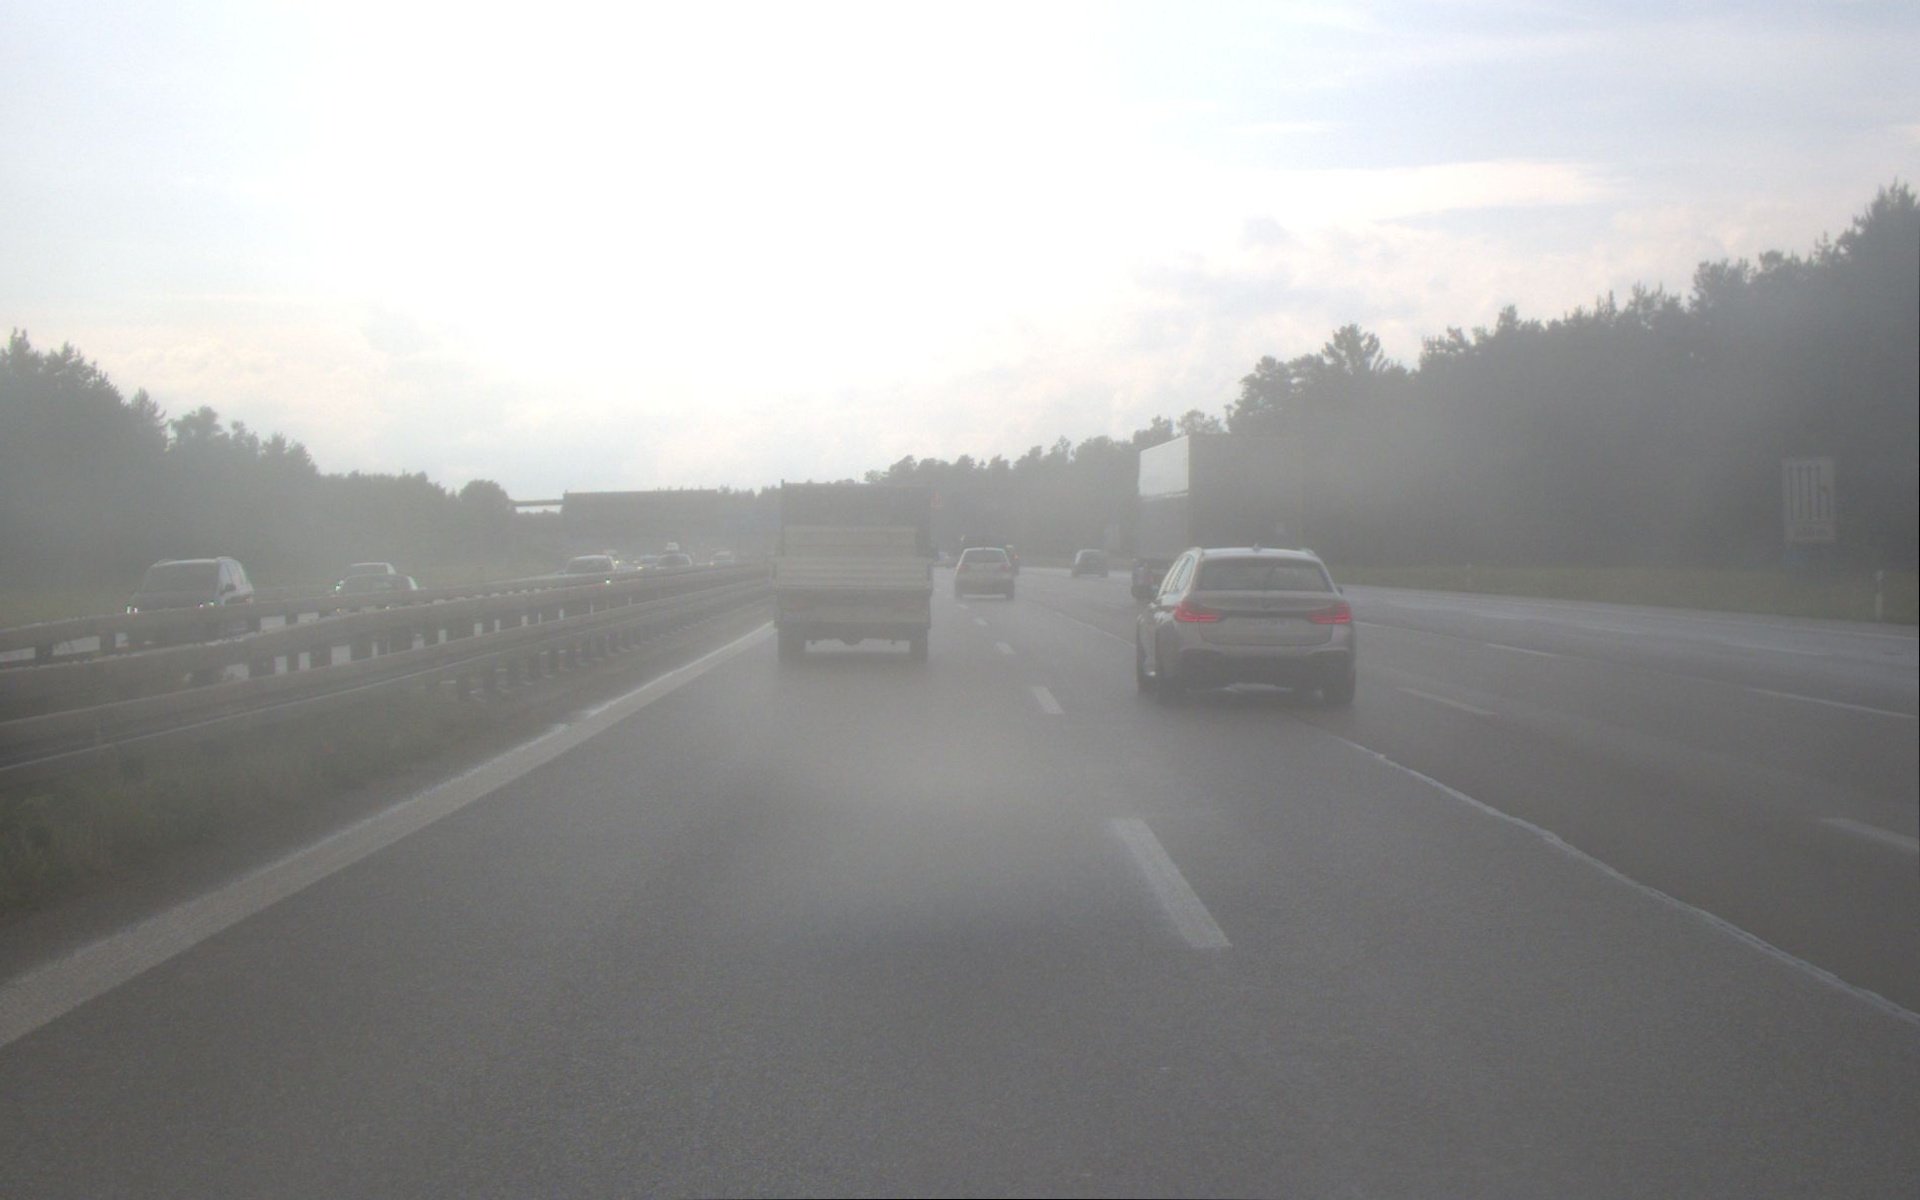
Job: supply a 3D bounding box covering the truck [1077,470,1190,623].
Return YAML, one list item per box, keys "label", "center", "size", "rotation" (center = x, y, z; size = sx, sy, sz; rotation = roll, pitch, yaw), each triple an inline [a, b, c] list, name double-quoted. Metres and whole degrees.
- label: "truck"
  center: [4.483, -1.397, 89.659]
  size: [2.293, 3.854, 5.393]
  rotation: [0, 1, -4]

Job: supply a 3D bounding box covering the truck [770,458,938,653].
- label: "truck"
  center: [-1.415, -0.609, 46.339]
  size: [2.137, 2.480, 5.313]
  rotation: [0, 1, -2]

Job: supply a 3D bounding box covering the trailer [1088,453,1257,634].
- label: "trailer"
  center: [4.953, -1.351, 82.815]
  size: [2.323, 3.988, 13.414]
  rotation: [0, 1, -4]

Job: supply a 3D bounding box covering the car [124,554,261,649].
- label: "car"
  center: [-14.942, 0.002, 67.146]
  size: [1.724, 1.678, 4.137]
  rotation: [-3, 1, -1]

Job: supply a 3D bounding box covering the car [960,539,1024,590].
- label: "car"
  center: [0.928, -1.054, 100.557]
  size: [1.831, 1.461, 4.000]
  rotation: [0, 1, 0]

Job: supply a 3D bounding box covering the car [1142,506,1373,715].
- label: "car"
  center: [2.836, 0.048, 33.748]
  size: [2.078, 1.878, 5.011]
  rotation: [0, 1, 3]

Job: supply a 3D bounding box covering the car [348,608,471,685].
- label: "car"
  center: [-10.345, 0.853, 64.871]
  size: [1.694, 1.256, 4.063]
  rotation: [-2, 1, -1]

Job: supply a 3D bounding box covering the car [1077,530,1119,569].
- label: "car"
  center: [7.296, -2.704, 182.484]
  size: [1.993, 2.007, 4.000]
  rotation: [1, 1, -1]
